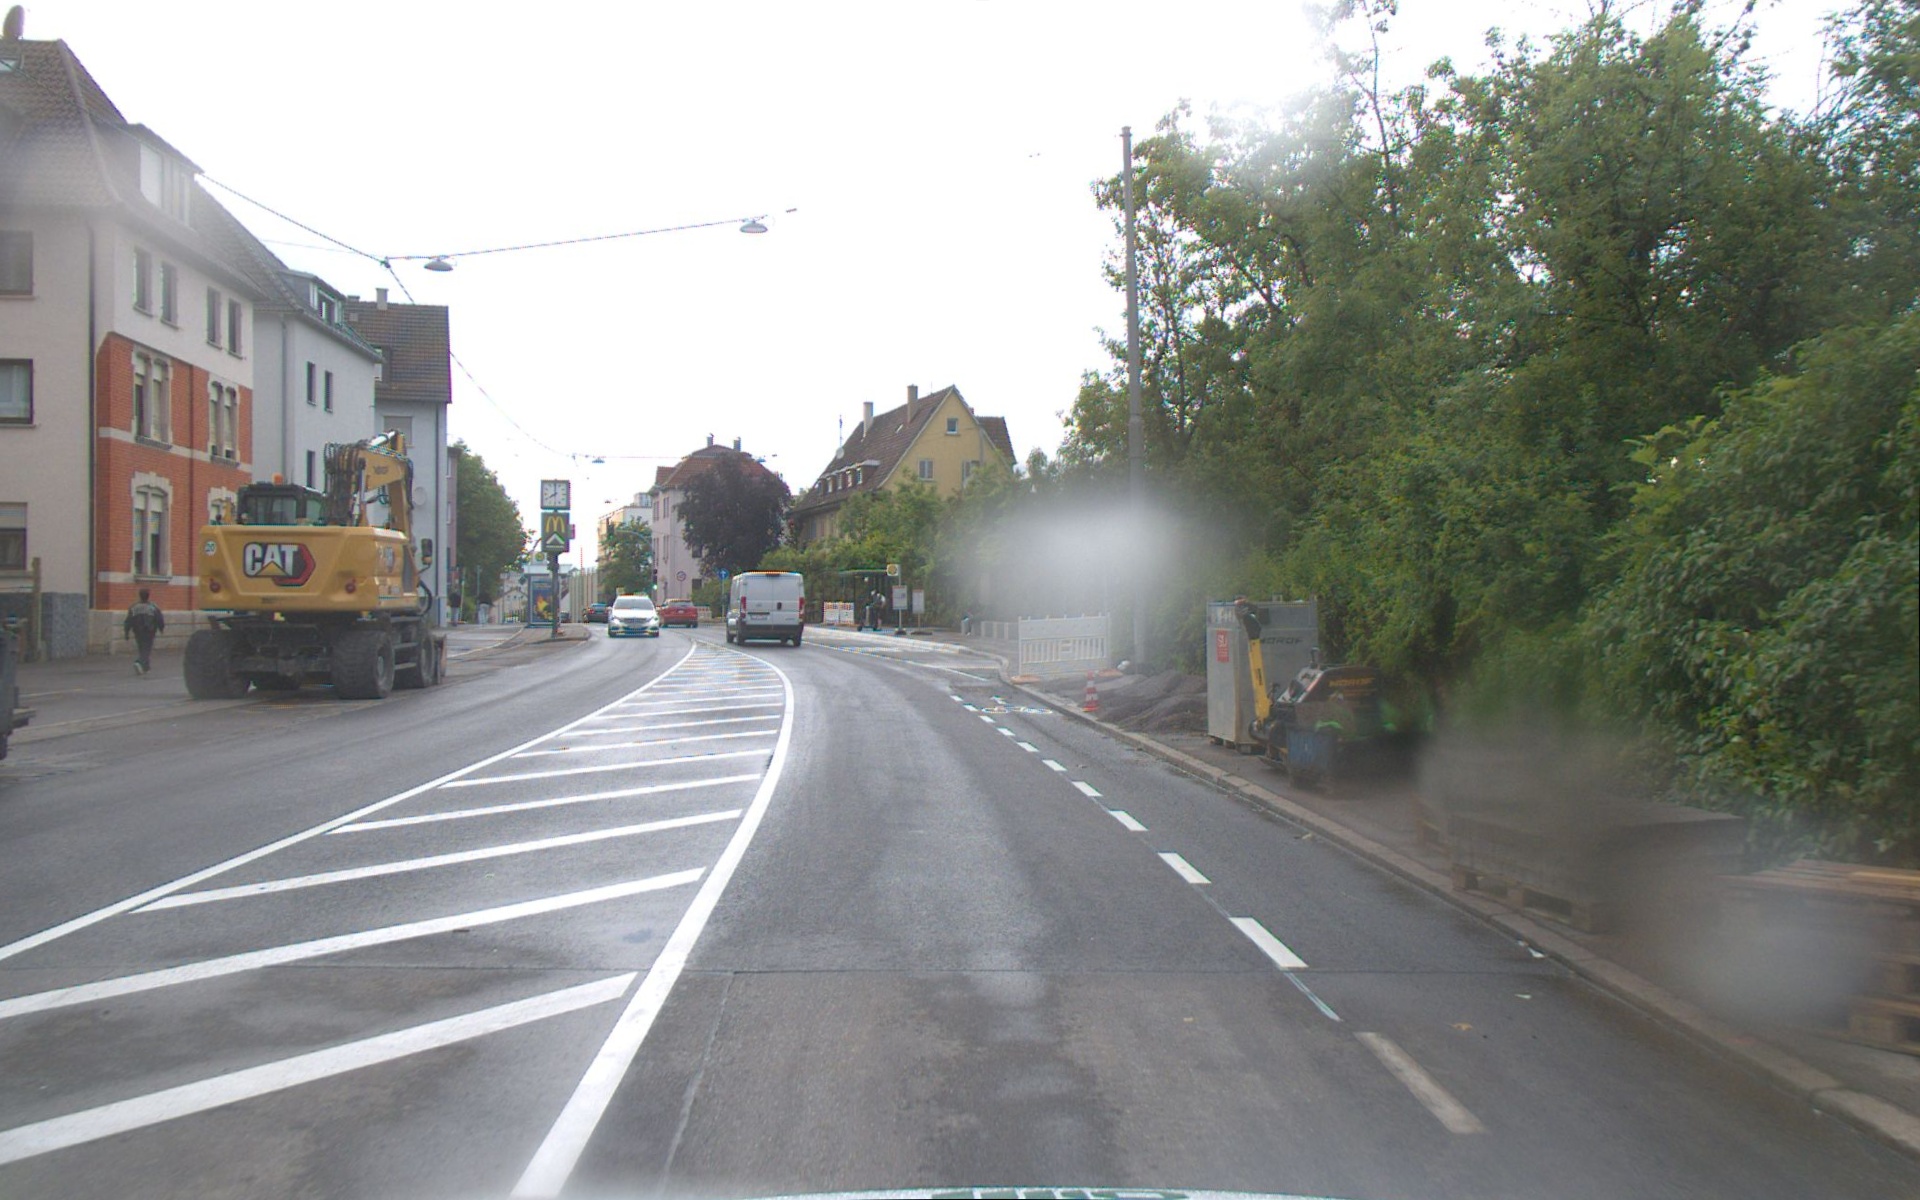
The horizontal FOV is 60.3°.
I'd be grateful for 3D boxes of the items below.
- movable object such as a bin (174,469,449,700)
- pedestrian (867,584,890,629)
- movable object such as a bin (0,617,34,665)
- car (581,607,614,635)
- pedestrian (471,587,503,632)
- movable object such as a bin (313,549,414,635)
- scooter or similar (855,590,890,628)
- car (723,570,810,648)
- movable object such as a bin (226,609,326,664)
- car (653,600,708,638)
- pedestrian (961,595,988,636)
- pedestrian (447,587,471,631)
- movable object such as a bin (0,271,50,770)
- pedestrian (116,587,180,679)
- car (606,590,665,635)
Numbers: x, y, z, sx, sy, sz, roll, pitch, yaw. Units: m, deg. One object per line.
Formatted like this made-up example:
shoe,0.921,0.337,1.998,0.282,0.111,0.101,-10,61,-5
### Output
movable object such as a bin,-9.889,-0.227,25.669,2.815,3.228,4.121,1,0,-5
pedestrian,-3.285,0.271,66.788,0.887,1.761,0.653,1,1,-3
movable object such as a bin,-19.221,0.828,33.519,0.622,0.914,0.574,1,1,-10
car,-27.023,1.523,123.118,2.200,1.835,4.696,1,2,-15
pedestrian,-22.322,0.444,77.989,1.195,2.048,1.040,1,2,-33
movable object such as a bin,-20.097,-0.326,55.955,1.954,2.729,4.625,1,2,-4
scooter or similar,-3.536,0.352,66.927,0.488,1.430,1.548,2,3,40
car,-6.225,0.244,52.707,2.199,2.251,4.698,1,2,-13
movable object such as a bin,-18.329,0.987,44.470,1.524,1.378,3.992,1,-1,-8
car,-14.137,0.918,83.403,2.202,1.685,4.693,1,2,-17
pedestrian,0.510,0.553,58.329,0.861,1.391,1.065,1,1,-3
pedestrian,-23.982,0.448,79.188,1.062,2.048,1.048,1,1,-16
movable object such as a bin,-8.857,-0.581,10.658,2.718,3.922,5.987,1,2,-1
pedestrian,-14.983,0.599,30.540,0.750,1.616,1.089,1,1,-9
car,-12.327,0.480,62.585,1.896,1.583,4.601,1,-1,-15
